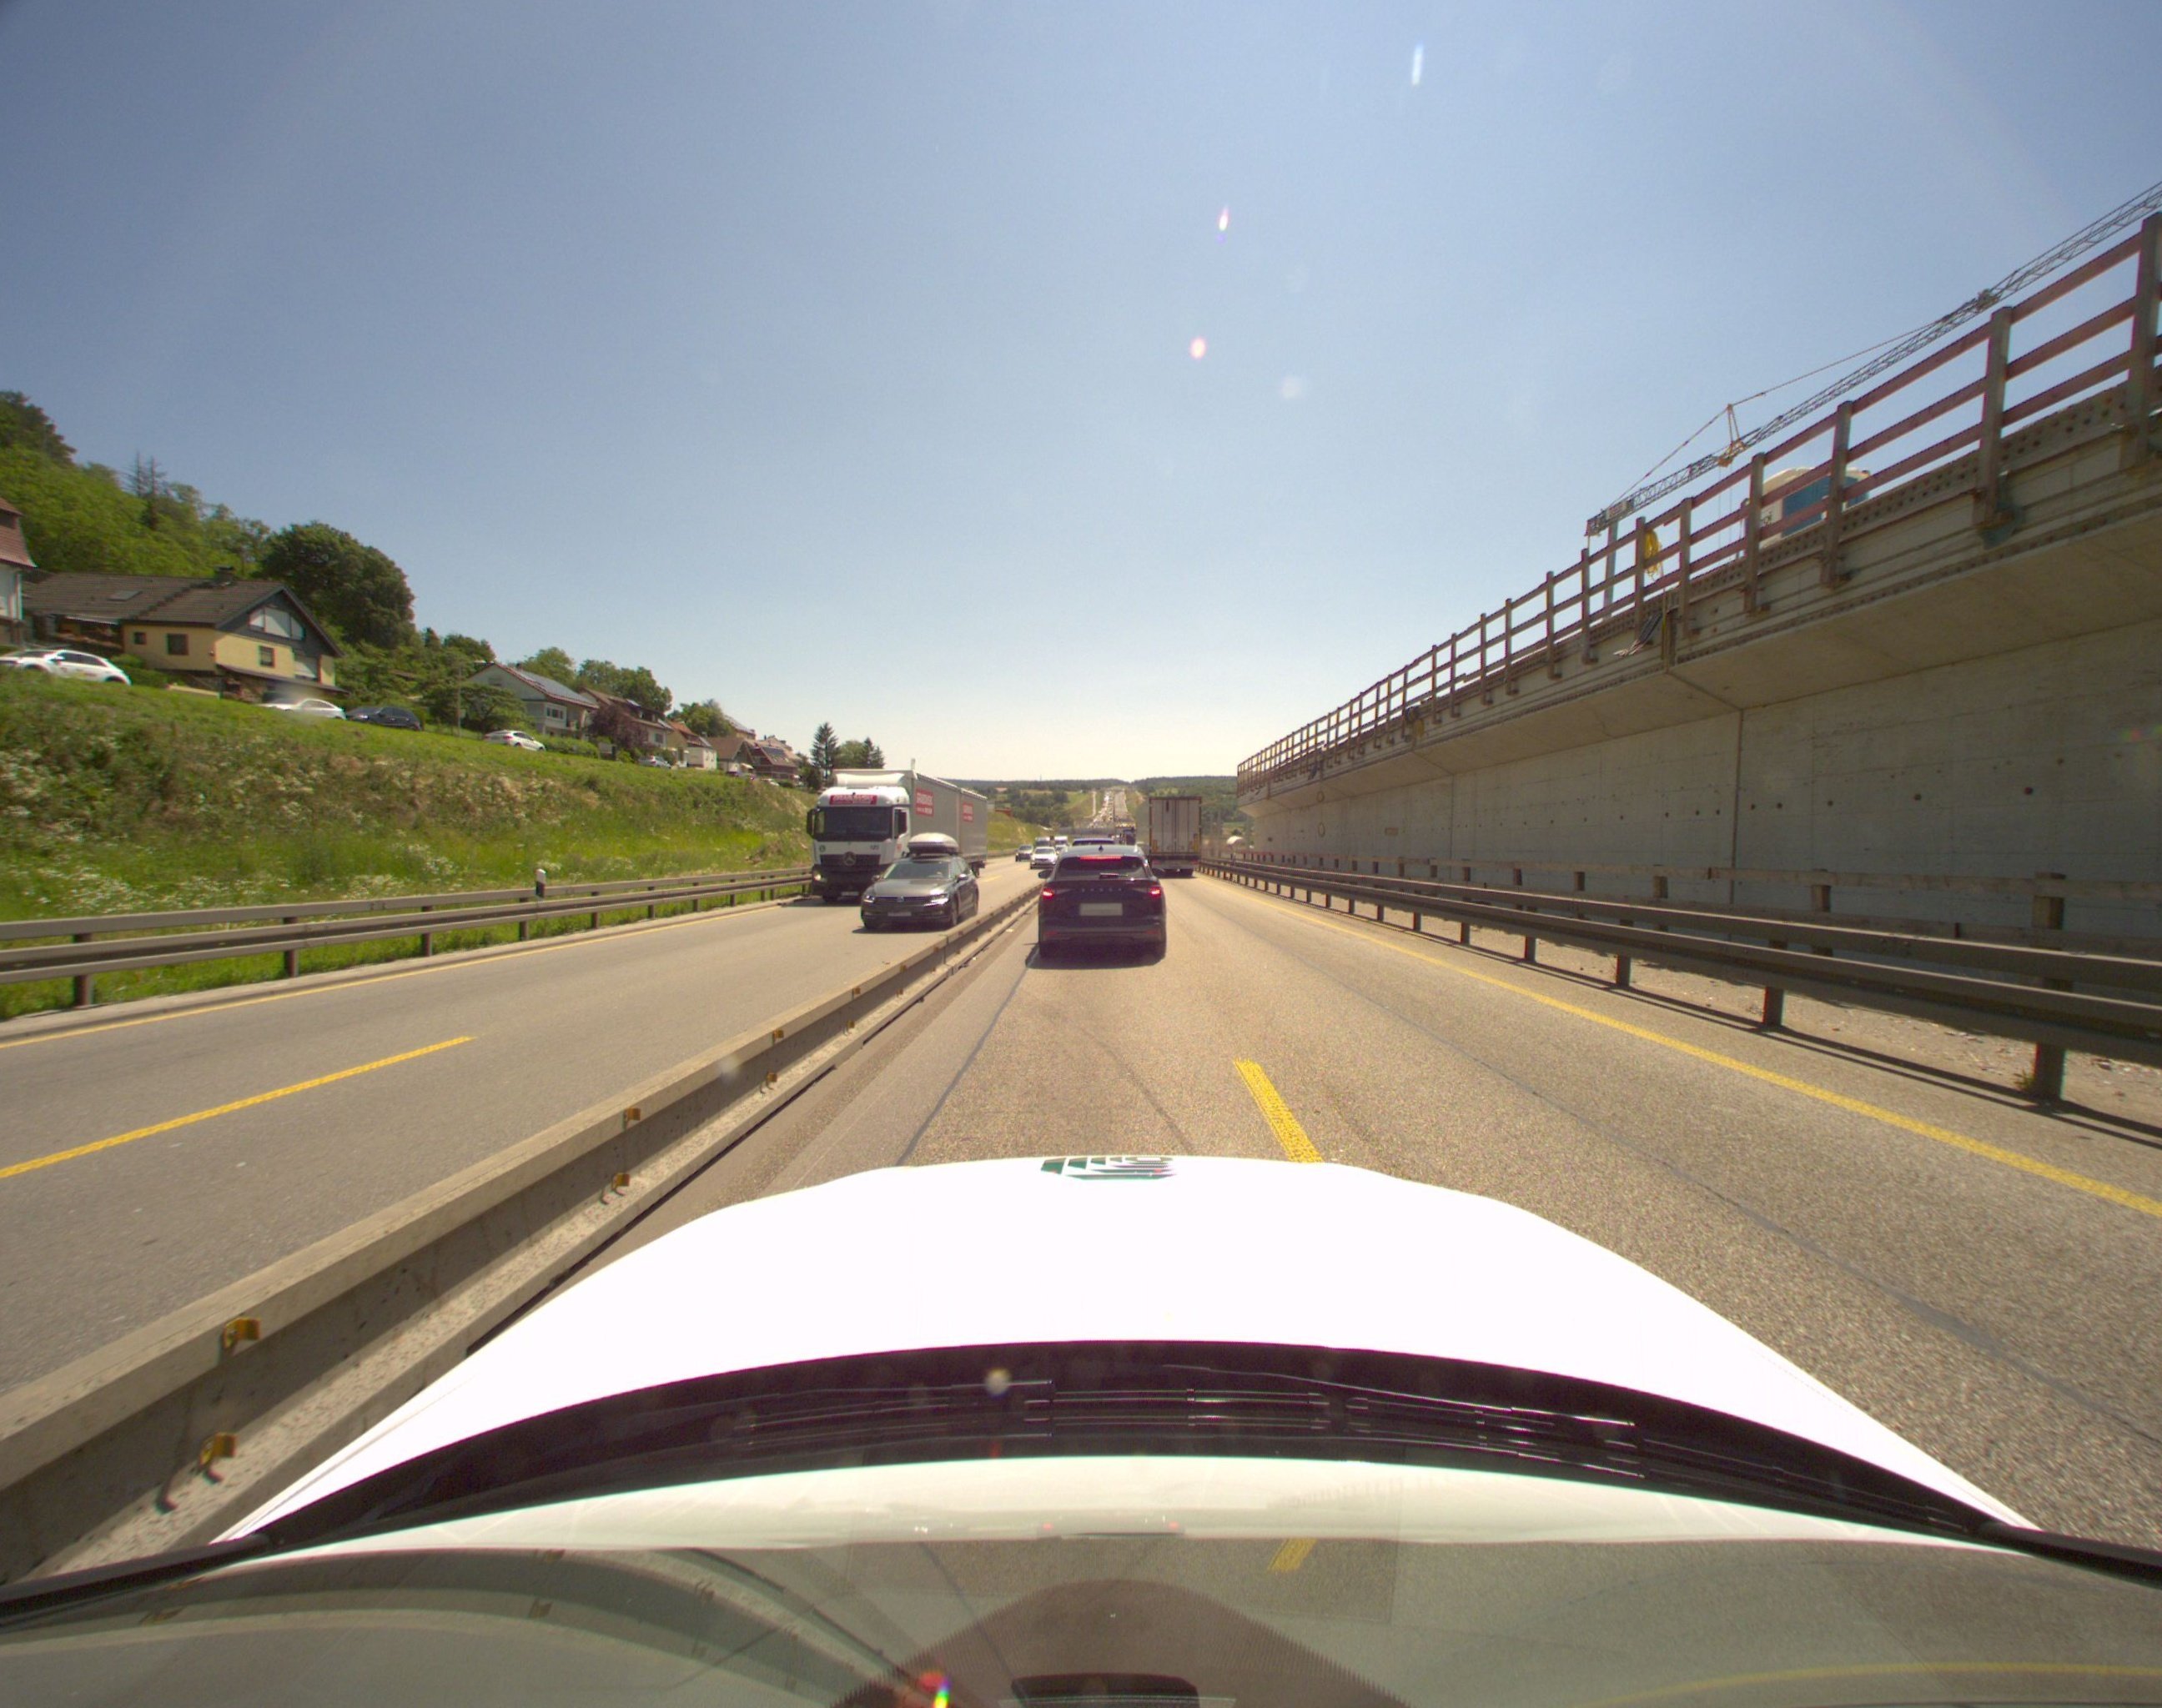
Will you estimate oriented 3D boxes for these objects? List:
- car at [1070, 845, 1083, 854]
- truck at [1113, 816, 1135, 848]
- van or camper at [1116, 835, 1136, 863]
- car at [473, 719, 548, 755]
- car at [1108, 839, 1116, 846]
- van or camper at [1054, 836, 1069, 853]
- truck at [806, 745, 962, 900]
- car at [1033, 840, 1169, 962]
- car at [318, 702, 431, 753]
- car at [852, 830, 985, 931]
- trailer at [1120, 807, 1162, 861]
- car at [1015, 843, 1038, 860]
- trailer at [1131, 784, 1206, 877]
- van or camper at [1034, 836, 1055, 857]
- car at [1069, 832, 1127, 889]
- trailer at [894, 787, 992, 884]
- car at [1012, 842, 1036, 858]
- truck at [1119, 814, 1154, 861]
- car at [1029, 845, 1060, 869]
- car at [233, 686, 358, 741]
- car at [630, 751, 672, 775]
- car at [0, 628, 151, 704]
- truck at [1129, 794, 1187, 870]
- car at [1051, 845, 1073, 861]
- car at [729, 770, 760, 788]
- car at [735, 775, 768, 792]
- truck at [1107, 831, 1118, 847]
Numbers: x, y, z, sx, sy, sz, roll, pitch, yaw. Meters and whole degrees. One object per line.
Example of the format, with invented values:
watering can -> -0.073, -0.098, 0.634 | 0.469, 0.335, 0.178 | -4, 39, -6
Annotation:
car -> -0.662, -0.726, 127.693 | 1.836, 1.475, 4.836 | 0, 1, 1
truck -> 6.493, -3.307, 124.933 | 2.842, 4.465, 11.919 | 0, 0, 1
van or camper -> 5.474, -0.602, 99.010 | 2.378, 3.280, 6.475 | -1, -1, 4
car -> -39.569, -8.074, 56.643 | 1.990, 1.794, 5.003 | 0, 0, -5
car -> 7.055, -2.676, 186.938 | 1.806, 1.601, 4.575 | 0, 1, 2
van or camper -> -3.521, -1.686, 146.814 | 2.283, 3.066, 6.926 | 0, 1, 1
truck -> -6.382, -0.918, 28.382 | 2.611, 4.396, 10.389 | 0, 0, 2
car -> 0.345, 0.618, 12.792 | 1.795, 1.607, 4.002 | 0, 0, 2
car -> -38.771, -6.898, 44.873 | 2.066, 2.008, 4.966 | 0, 0, -4
car -> -3.333, 0.477, 17.657 | 1.842, 1.890, 4.503 | 0, 1, 2
trailer -> 5.407, -1.614, 75.738 | 3.169, 4.513, 14.971 | 0, 0, 2
car -> -5.153, -0.219, 77.486 | 1.766, 1.582, 4.287 | 1, 1, 1
trailer -> 4.701, -1.271, 46.409 | 3.169, 4.512, 13.114 | 0, 1, 1
van or camper -> -4.589, -0.994, 103.513 | 2.132, 2.573, 6.567 | 0, 1, 1
car -> 0.640, 0.236, 30.218 | 1.986, 1.926, 4.508 | 0, 0, 1
trailer -> -6.181, -0.795, 37.957 | 2.919, 3.988, 8.707 | 0, 0, 1
car -> -5.412, -0.354, 77.260 | 1.987, 1.474, 3.999 | 0, 0, -1
truck -> 5.580, -1.568, 82.822 | 3.169, 4.513, 8.168 | 0, 0, 1
car -> -2.358, 0.174, 53.802 | 1.796, 1.464, 4.001 | 0, 0, 1
car -> -38.177, -6.802, 39.776 | 1.990, 1.872, 4.424 | 0, 0, -4
car -> -40.010, -8.420, 75.856 | 1.990, 1.794, 3.993 | 0, 0, -5
car -> -36.892, -6.684, 29.304 | 1.992, 1.656, 4.540 | 0, 0, -8
truck -> 4.869, -1.401, 52.951 | 3.169, 4.512, 8.169 | 0, 1, 1
car -> -1.772, -0.112, 76.921 | 1.823, 1.433, 4.631 | -1, 1, 1
car -> -41.279, -9.194, 100.027 | 2.175, 1.794, 4.755 | 0, 0, -5
car -> -42.922, -9.144, 106.207 | 2.341, 1.794, 4.798 | 0, 0, -2
truck -> 8.383, -3.911, 216.783 | 2.630, 4.193, 9.287 | 0, 0, 2
